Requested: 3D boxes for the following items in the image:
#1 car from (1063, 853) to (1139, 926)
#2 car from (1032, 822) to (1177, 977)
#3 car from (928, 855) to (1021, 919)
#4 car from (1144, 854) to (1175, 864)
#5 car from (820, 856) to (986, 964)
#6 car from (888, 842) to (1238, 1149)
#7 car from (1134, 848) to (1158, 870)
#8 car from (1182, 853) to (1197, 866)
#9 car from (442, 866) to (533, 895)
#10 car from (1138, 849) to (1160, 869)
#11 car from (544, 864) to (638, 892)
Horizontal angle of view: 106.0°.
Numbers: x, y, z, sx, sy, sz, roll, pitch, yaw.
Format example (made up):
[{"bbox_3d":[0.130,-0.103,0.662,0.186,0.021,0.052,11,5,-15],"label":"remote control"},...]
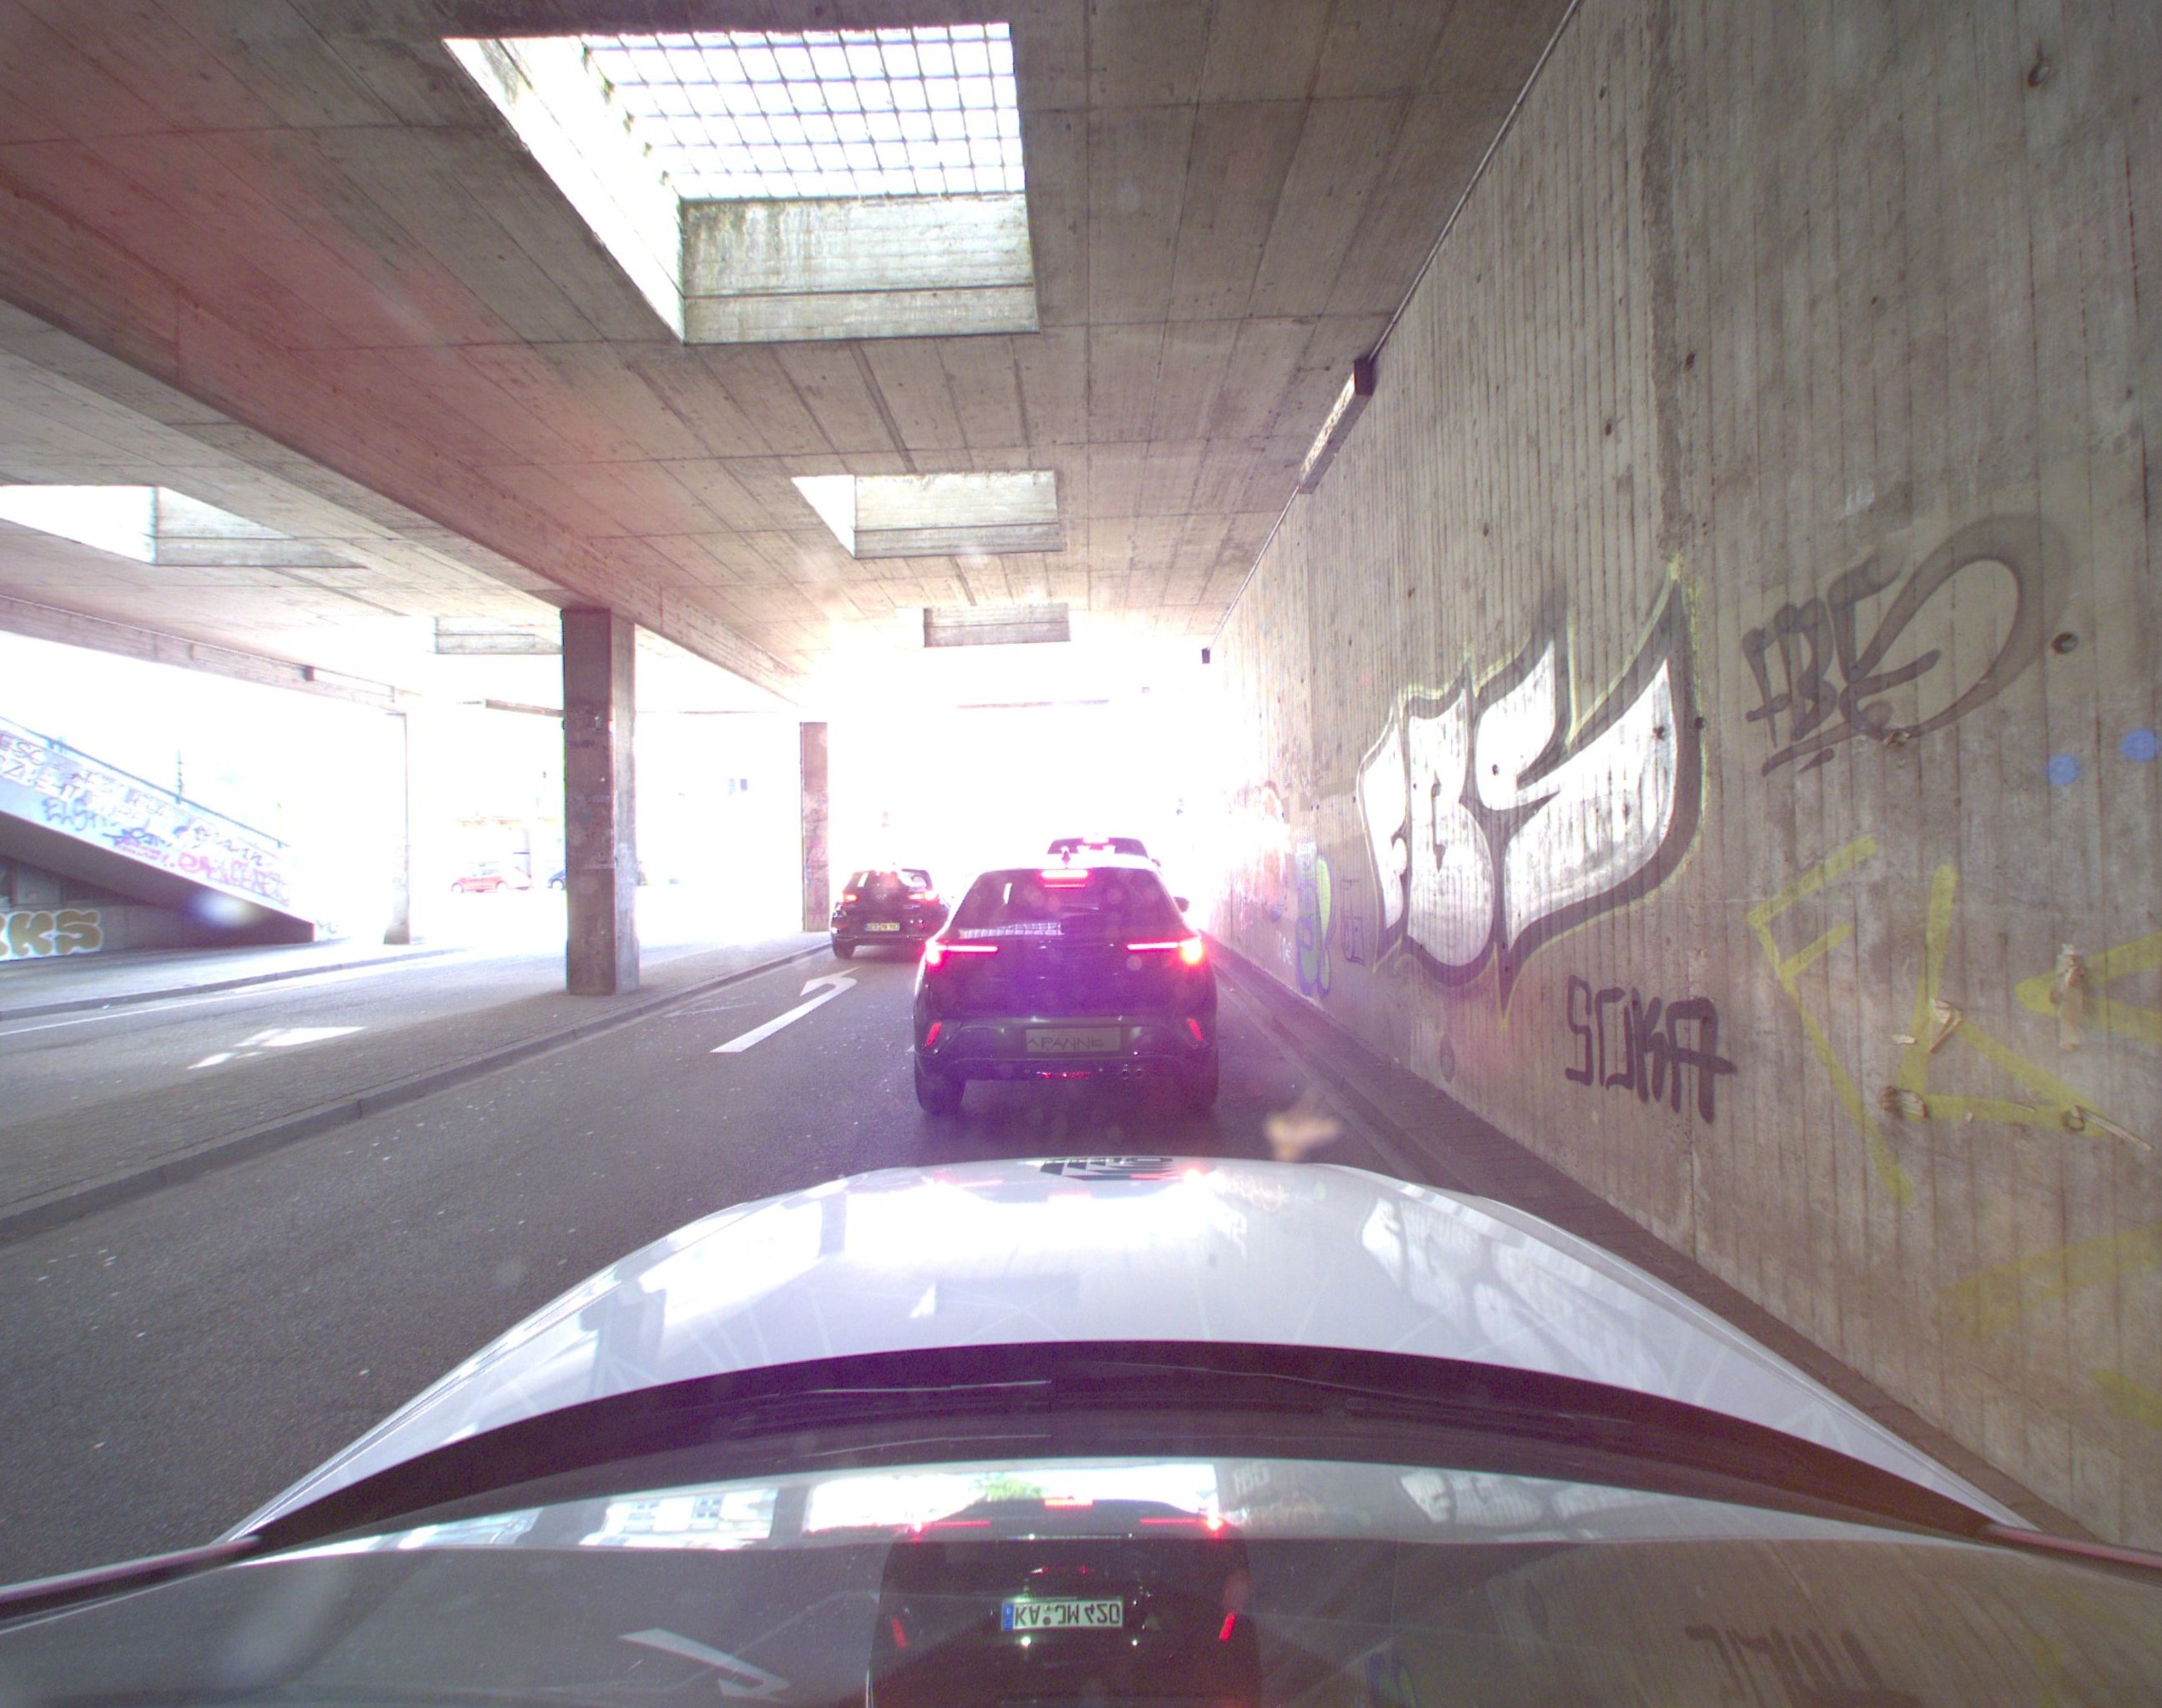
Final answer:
[{"bbox_3d":[0.491,0.761,19.353,1.603,1.513,4.055,-1,0,2],"label":"car"},{"bbox_3d":[0.355,0.566,12.135,1.755,1.883,4.148,-1,0,2],"label":"car"},{"bbox_3d":[-2.661,0.796,21.182,1.755,1.480,3.846,-1,0,2],"label":"car"},{"bbox_3d":[12.844,0.857,133.658,4.814,1.667,1.812,0,-1,-19],"label":"car"},{"bbox_3d":[-2.750,0.799,13.454,1.755,1.480,3.846,-1,0,2],"label":"car"},{"bbox_3d":[-0.029,0.726,6.195,1.755,1.531,4.091,-1,0,2],"label":"car"},{"bbox_3d":[4.967,0.379,62.222,1.745,1.667,3.950,0,-1,6],"label":"car"},{"bbox_3d":[14.414,0.686,108.280,1.742,1.667,3.956,-1,-1,11],"label":"car"},{"bbox_3d":[-32.930,1.448,45.240,3.748,1.475,1.749,-1,-1,0],"label":"car"},{"bbox_3d":[5.755,0.423,68.326,1.745,1.667,3.950,0,-1,6],"label":"car"},{"bbox_3d":[-27.174,1.325,45.262,4.096,1.475,1.737,-1,-1,0],"label":"car"}]
